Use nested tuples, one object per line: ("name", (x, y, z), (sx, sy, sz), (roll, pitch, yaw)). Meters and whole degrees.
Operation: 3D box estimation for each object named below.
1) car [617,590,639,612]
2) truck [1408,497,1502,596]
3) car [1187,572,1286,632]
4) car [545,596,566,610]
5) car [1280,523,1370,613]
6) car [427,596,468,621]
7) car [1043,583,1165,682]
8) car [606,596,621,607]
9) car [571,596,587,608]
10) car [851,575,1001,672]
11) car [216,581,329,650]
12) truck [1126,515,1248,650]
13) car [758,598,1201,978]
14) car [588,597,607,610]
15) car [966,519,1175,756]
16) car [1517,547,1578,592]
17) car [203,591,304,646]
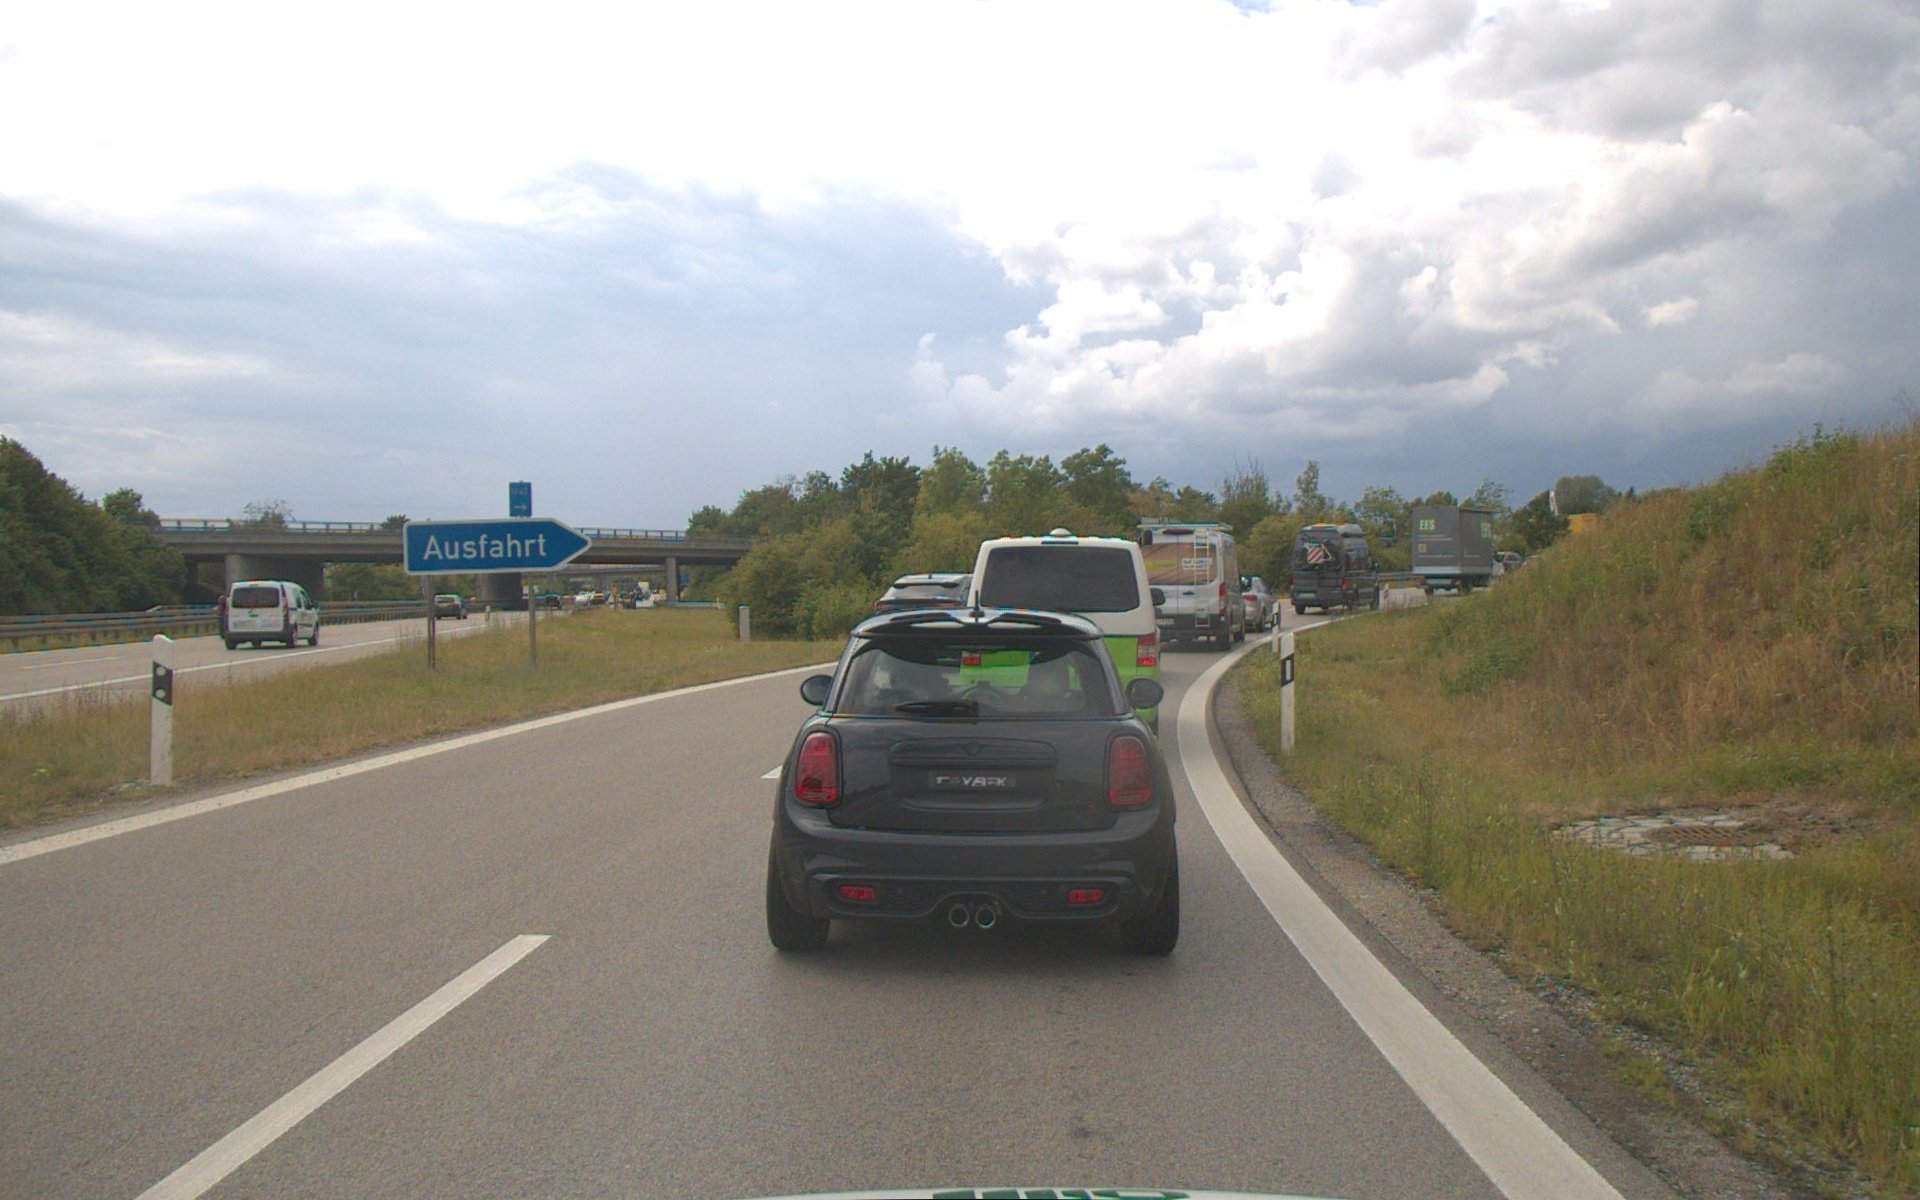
("car", (-31.749, 0.106, 158.305), (1.958, 2.049, 3.989), (1, -1, -11))
("truck", (21.340, -2.234, 71.123), (2.190, 3.975, 5.997), (0, -1, 34))
("car", (7.454, 0.043, 44.330), (1.828, 1.536, 4.000), (0, 0, 21))
("car", (-43.311, 0.322, 177.311), (1.746, 1.423, 4.298), (-1, 0, -8))
("car", (12.156, -1.047, 54.900), (2.063, 2.845, 3.997), (1, 1, 25))
("car", (-31.048, 0.479, 100.266), (1.690, 1.449, 4.787), (-1, 0, -9))
("car", (2.304, 0.462, 25.720), (1.725, 1.423, 3.728), (-1, 0, 7))
("car", (-47.007, 0.192, 224.461), (1.746, 1.423, 4.022), (-1, 0, -7))
("car", (-48.416, 0.253, 210.405), (1.748, 1.423, 4.295), (-1, 0, -10))
("car", (-0.513, 0.377, 29.684), (1.794, 1.593, 4.502), (0, 0, 11))
("car", (-19.060, 0.401, 46.022), (1.841, 1.782, 4.478), (-1, 0, -9))
("truck", (5.017, -0.393, 35.930), (2.132, 2.705, 5.113), (-1, 1, 13))
("car", (0.092, 0.717, 8.203), (1.691, 1.438, 3.725), (0, 0, 0))
("car", (-40.816, 0.342, 186.240), (1.746, 1.423, 4.542), (-1, 0, -8))
("car", (1.212, 0.311, 16.401), (1.746, 2.049, 4.003), (0, 0, 8))
("car", (28.582, -1.440, 80.448), (1.958, 2.049, 3.989), (0, -1, 32))
("car", (-24.688, 0.618, 57.975), (1.957, 1.817, 5.400), (-1, 0, -9))
